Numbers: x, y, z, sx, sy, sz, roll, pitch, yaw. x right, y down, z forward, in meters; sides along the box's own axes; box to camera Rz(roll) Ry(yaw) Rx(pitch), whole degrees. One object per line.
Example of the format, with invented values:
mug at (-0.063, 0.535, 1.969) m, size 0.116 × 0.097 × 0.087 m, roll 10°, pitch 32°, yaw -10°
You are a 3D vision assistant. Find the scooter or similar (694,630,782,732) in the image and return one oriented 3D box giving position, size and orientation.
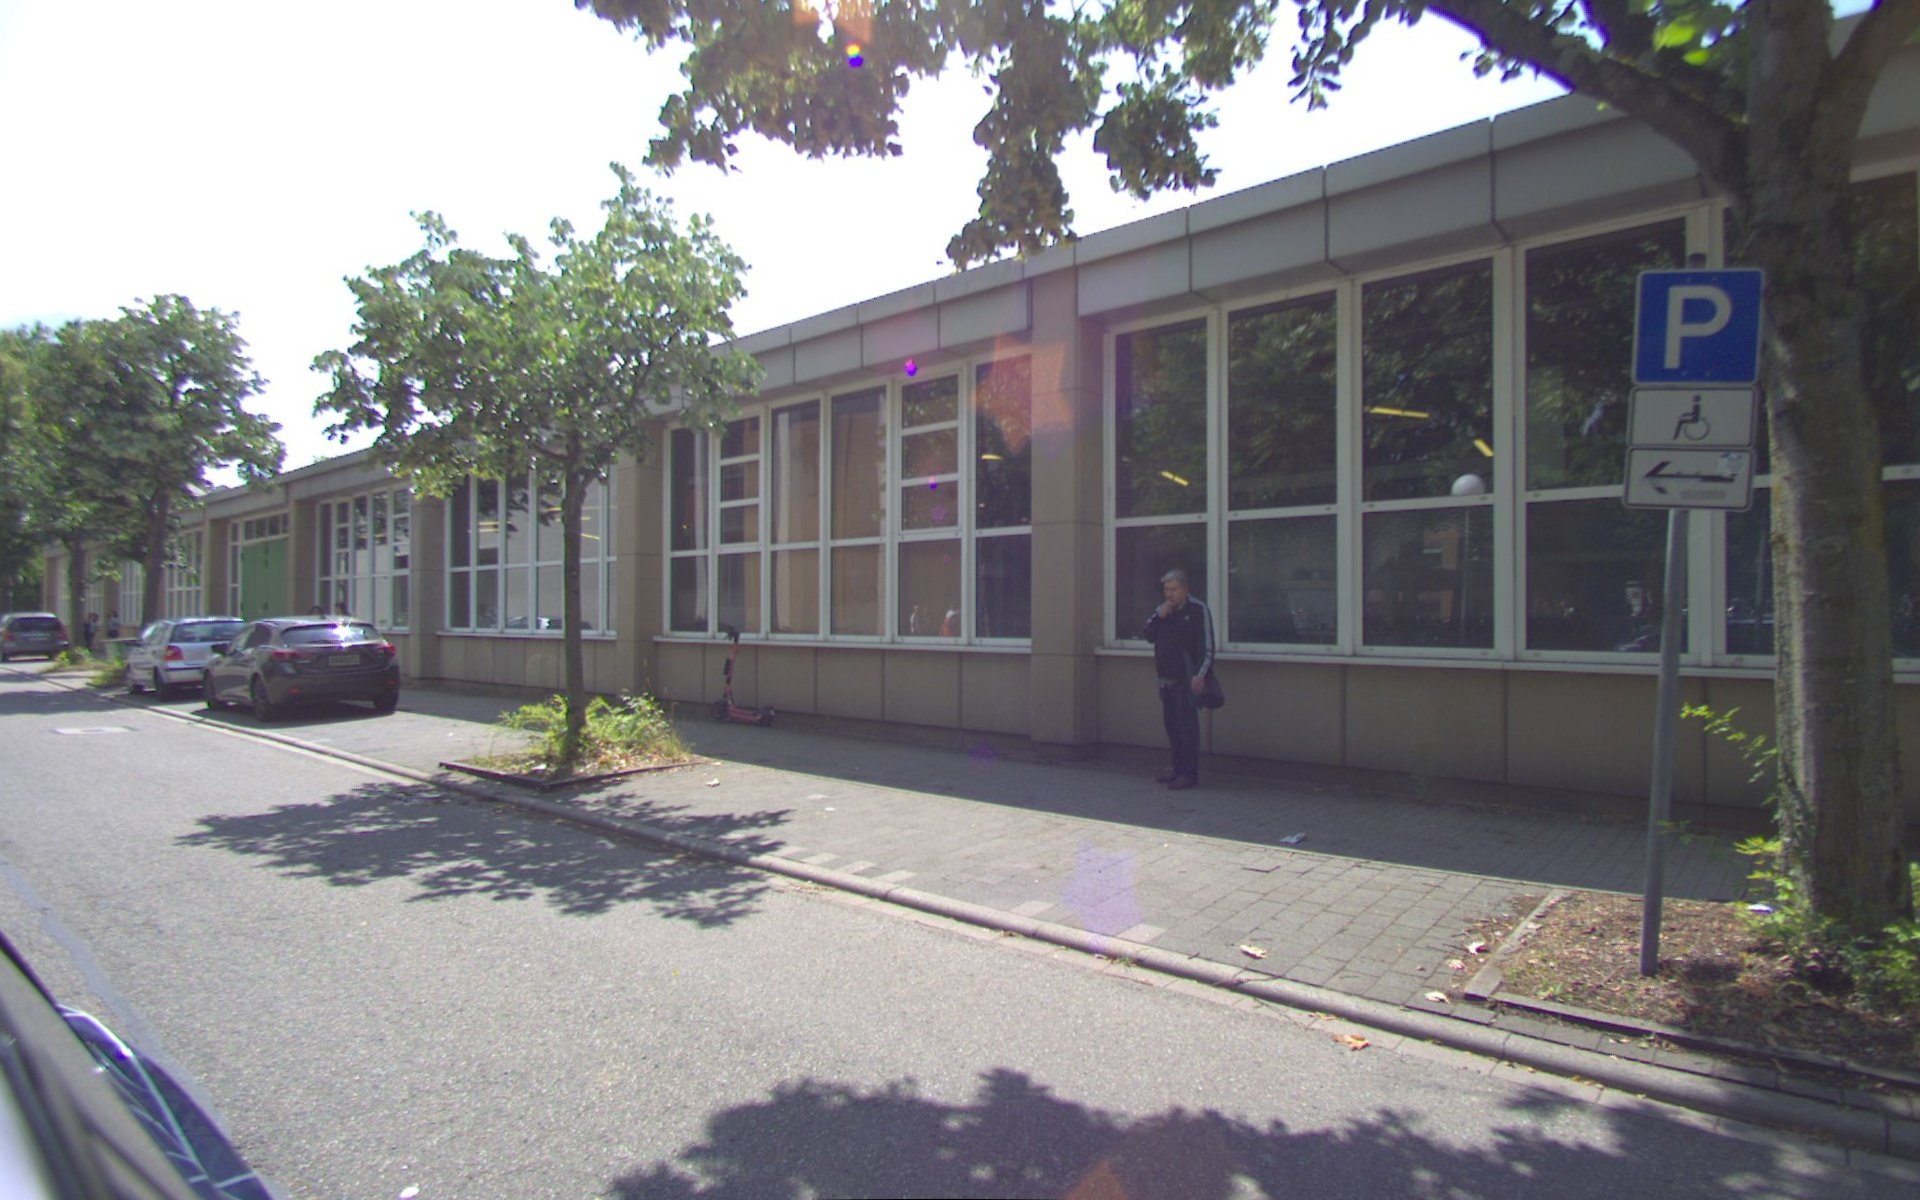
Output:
scooter or similar at (-2.827, 1.006, 12.856) m, size 1.245 × 1.216 × 0.379 m, roll -2°, pitch 0°, yaw 40°

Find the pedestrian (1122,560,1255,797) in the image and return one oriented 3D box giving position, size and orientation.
pedestrian at (1.848, 0.605, 8.198) m, size 0.790 × 1.801 × 0.661 m, roll -2°, pitch -1°, yaw 41°

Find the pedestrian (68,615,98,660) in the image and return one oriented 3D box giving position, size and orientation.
pedestrian at (-31.507, 1.353, 36.367) m, size 0.595 × 1.593 × 0.553 m, roll 2°, pitch -4°, yaw -19°

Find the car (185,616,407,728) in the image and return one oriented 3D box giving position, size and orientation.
car at (-10.329, 1.034, 15.621) m, size 4.286 × 1.446 × 1.708 m, roll -2°, pitch 0°, yaw 40°

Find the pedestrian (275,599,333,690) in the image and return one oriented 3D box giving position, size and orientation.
pedestrian at (-12.911, 0.868, 19.919) m, size 0.600 × 1.741 × 0.788 m, roll -1°, pitch -2°, yaw 36°

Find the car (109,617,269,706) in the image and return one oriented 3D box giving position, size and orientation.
car at (-14.643, 1.087, 19.165) m, size 3.750 × 1.460 × 1.613 m, roll -1°, pitch 1°, yaw 40°

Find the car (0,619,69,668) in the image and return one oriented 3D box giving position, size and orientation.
car at (-31.310, 1.416, 33.801) m, size 3.673 × 1.460 × 1.780 m, roll -1°, pitch 1°, yaw 40°

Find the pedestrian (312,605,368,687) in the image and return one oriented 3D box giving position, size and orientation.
pedestrian at (-12.094, 0.886, 19.758) m, size 0.784 × 1.553 × 0.666 m, roll 0°, pitch -2°, yaw -20°

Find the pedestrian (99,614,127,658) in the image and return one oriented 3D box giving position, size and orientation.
pedestrian at (-30.881, 1.327, 36.905) m, size 0.550 × 1.593 × 0.598 m, roll -2°, pitch -4°, yaw 38°

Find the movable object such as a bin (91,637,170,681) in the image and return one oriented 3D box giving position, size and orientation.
movable object such as a bin at (-20.761, 1.454, 25.321) m, size 1.695 × 0.992 × 1.278 m, roll -2°, pitch 0°, yaw 42°
